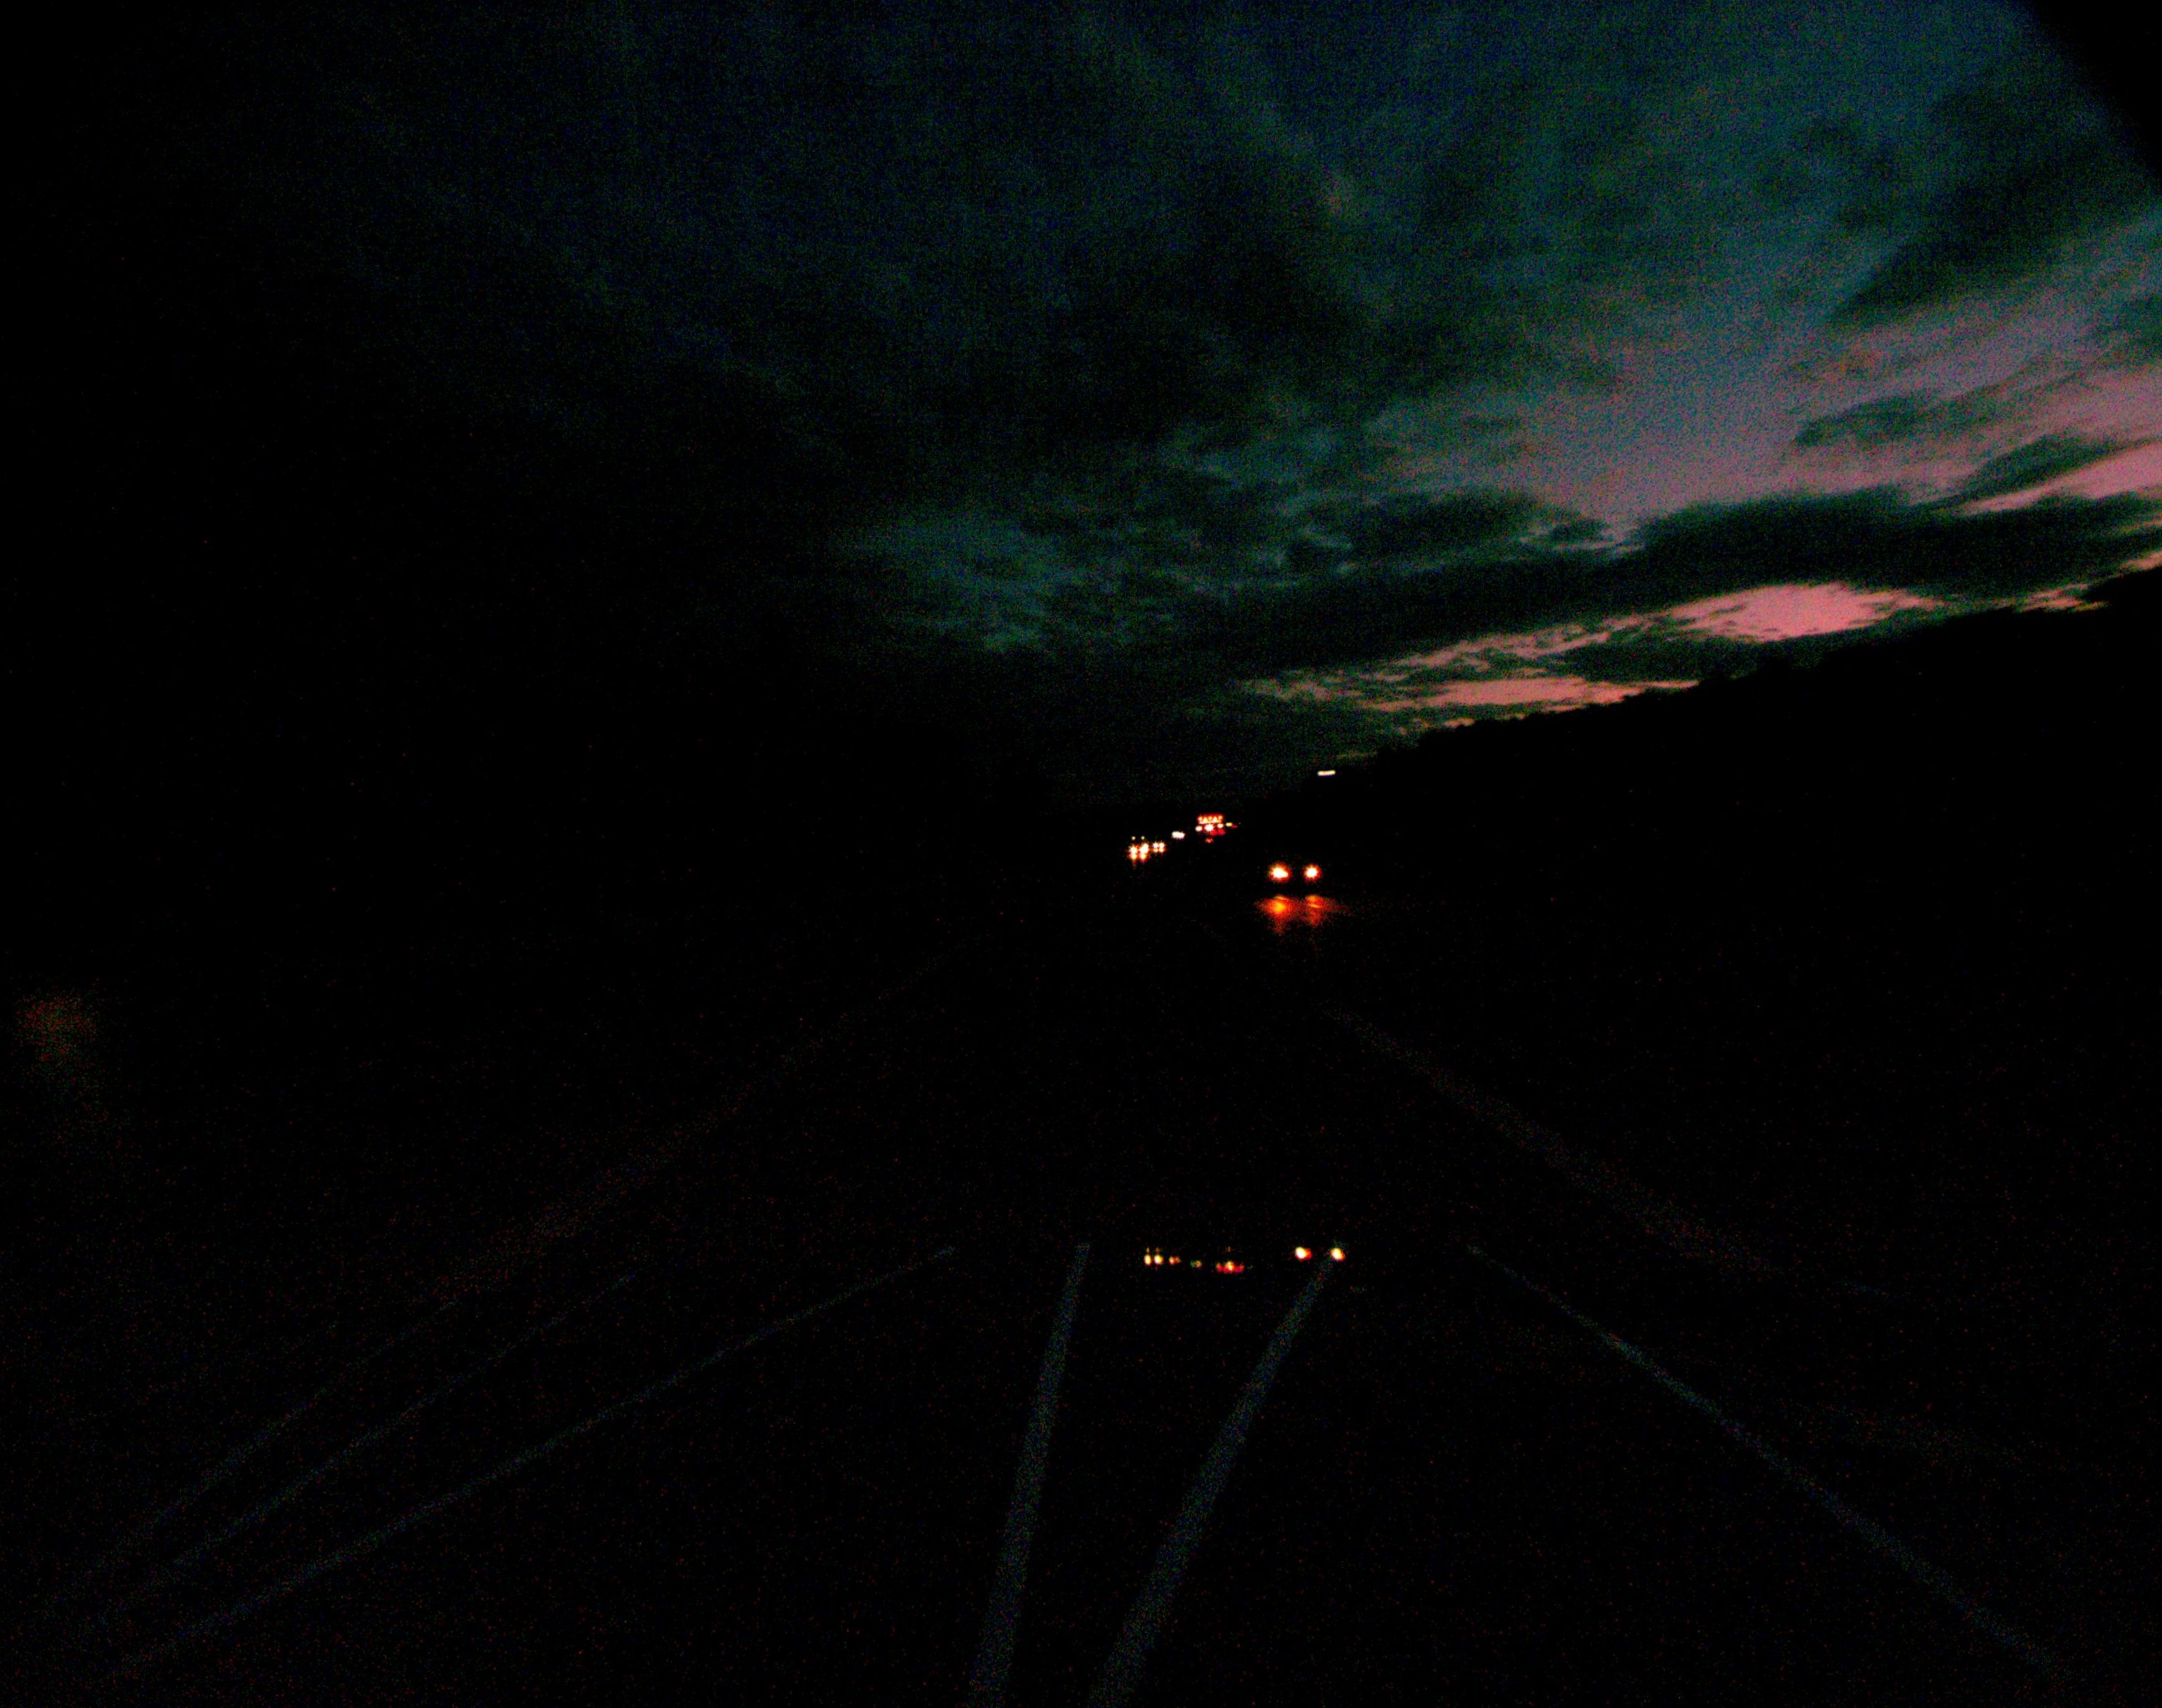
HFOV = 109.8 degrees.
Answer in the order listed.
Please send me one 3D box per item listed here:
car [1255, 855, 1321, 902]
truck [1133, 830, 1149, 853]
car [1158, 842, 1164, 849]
[{"bbox_3d":[8.175,0.908,30.316,1.717,1.472,3.999,-2,3,3],"label":"car"},{"bbox_3d":[12.822,-2.685,161.298,3.025,4.374,11.613,-2,3,5],"label":"truck"},{"bbox_3d":[21.993,-2.409,208.469,1.652,1.655,3.774,-2,3,5],"label":"car"}]
